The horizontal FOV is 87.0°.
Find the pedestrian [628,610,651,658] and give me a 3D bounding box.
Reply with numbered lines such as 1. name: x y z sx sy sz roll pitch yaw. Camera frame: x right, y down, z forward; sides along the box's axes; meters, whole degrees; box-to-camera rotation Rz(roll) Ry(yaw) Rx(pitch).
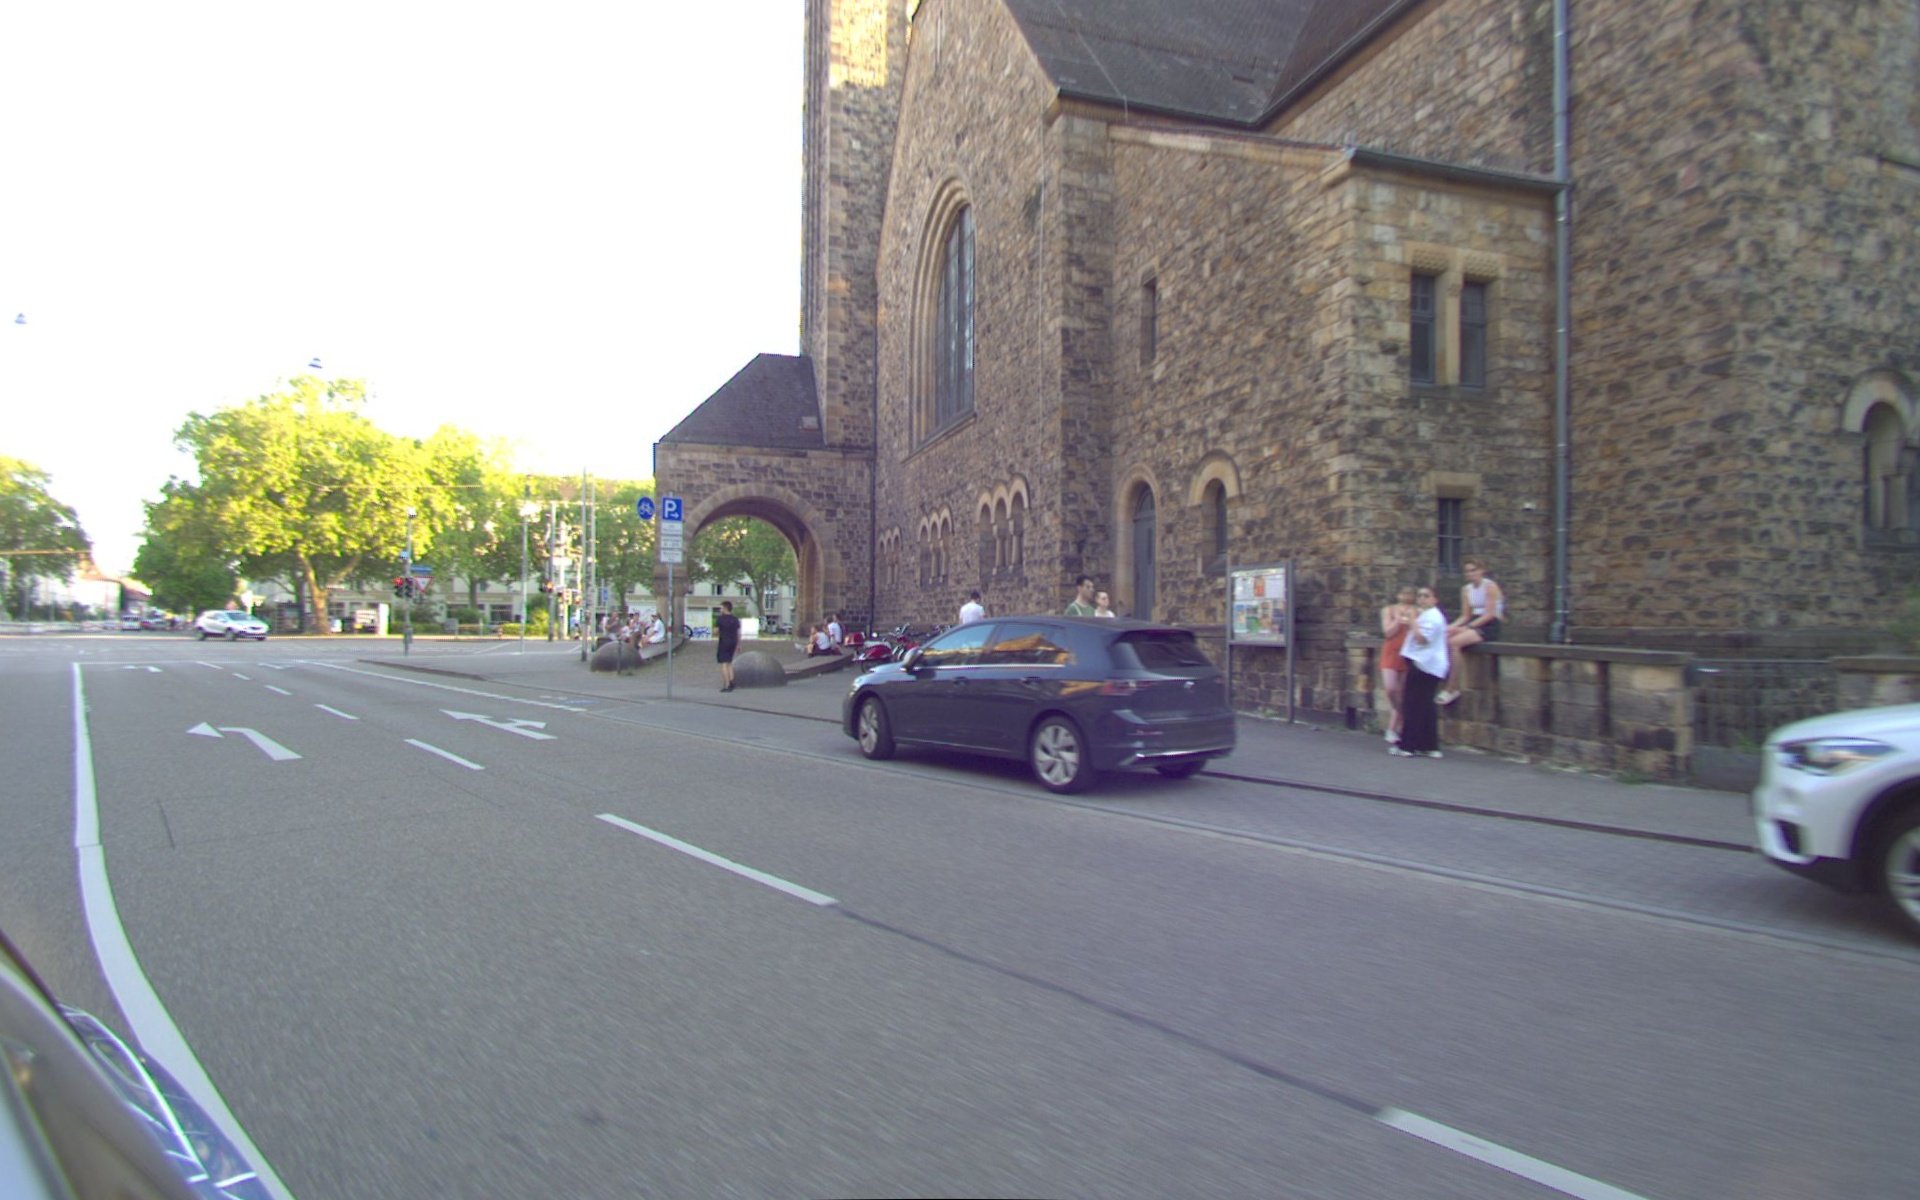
1. pedestrian: -9.648 1.029 30.482 0.539 1.417 0.459 1 -2 -7

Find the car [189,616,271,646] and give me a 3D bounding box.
1. car: -39.252 1.670 54.404 3.975 1.570 1.827 0 -2 24

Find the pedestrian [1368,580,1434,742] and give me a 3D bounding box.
1. pedestrian: 4.683 0.635 10.769 0.542 1.687 0.414 0 -1 9

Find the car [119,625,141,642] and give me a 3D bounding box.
1. car: -102.581 4.127 125.081 1.961 1.971 4.604 2 -2 -38

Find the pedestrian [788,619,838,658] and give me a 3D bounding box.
1. pedestrian: -4.290 1.114 29.616 1.318 1.102 0.683 0 -2 9

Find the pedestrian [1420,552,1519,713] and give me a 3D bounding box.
1. pedestrian: 5.121 0.325 10.189 0.641 1.557 0.587 0 -1 -18

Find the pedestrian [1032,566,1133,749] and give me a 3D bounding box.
1. pedestrian: 1.330 0.607 11.028 0.639 1.893 0.892 2 -2 -45

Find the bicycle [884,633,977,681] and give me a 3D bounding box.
1. bicycle: -0.624 1.208 21.726 1.973 0.997 0.467 1 -2 -26

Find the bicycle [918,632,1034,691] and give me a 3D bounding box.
1. bicycle: 0.315 1.138 19.169 2.150 1.020 0.555 0 -1 -25

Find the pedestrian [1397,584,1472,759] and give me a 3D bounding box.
1. pedestrian: 4.548 0.669 9.724 0.542 1.634 0.414 0 -1 9

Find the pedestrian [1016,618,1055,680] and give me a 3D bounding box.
1. pedestrian: 1.323 0.846 17.692 0.516 1.056 0.734 0 -2 18

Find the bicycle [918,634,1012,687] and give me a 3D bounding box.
1. bicycle: 0.108 1.172 19.729 1.852 0.997 0.371 1 -2 -27

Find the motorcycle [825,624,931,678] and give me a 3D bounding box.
1. motorcycle: -1.899 1.157 23.675 2.383 1.134 0.823 -1 -1 -38

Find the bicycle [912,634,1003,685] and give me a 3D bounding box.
1. bicycle: -0.041 1.181 20.321 1.852 0.997 0.371 1 -2 -26

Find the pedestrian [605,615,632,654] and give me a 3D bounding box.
1. pedestrian: -12.343 1.252 36.636 0.791 1.385 0.700 1 -2 -8

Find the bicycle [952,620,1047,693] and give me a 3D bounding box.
1. bicycle: 0.715 0.993 18.098 1.704 1.258 0.438 1 -2 -27

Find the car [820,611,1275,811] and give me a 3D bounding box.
1. car: 0.593 0.857 9.585 1.761 1.446 4.323 2 -2 -40

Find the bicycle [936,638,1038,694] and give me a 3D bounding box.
1. bicycle: 0.504 1.187 18.439 1.852 0.997 0.443 1 -2 -26

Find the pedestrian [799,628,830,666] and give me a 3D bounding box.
1. pedestrian: -3.830 1.229 26.683 0.643 0.975 0.559 0 -2 15

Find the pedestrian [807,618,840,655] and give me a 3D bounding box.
1. pedestrian: -4.092 1.085 30.289 0.821 1.084 0.646 0 -2 9

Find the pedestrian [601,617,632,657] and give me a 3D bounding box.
1. pedestrian: -12.160 1.318 35.798 0.795 1.385 0.697 0 -2 10

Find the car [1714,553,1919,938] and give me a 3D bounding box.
1. car: 5.728 0.606 3.728 1.849 1.604 4.473 2 -2 -43

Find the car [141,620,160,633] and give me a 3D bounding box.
1. car: -104.680 3.437 130.842 1.799 1.586 4.008 1 -2 -37

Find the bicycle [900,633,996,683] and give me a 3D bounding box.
1. bicycle: -0.227 1.181 20.739 1.956 0.997 0.467 1 -2 -26

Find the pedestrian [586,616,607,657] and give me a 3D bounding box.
1. pedestrian: -13.089 1.308 36.475 0.619 1.465 0.918 1 -2 -15

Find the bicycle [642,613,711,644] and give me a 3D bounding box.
1. bicycle: -9.922 1.005 35.458 2.246 1.065 0.597 1 -2 -24

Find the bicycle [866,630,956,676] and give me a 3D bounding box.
1. bicycle: -1.110 1.195 23.064 1.973 0.997 0.587 1 -2 -28

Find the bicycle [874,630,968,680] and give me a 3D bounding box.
1. bicycle: -0.852 1.197 22.361 1.973 0.997 0.587 -2 0 -26

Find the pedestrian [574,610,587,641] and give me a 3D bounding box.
1. pedestrian: -23.203 1.565 61.793 0.699 1.861 1.163 1 -2 -21

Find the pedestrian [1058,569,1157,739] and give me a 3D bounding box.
1. pedestrian: 1.697 0.603 11.681 0.566 1.870 0.989 2 -2 -45

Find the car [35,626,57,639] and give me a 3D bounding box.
1. car: -115.546 4.059 127.953 1.767 1.592 4.008 2 -2 -38

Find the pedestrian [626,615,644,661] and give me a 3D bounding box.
1. pedestrian: -10.068 1.174 31.358 0.396 1.417 0.549 1 -2 -7

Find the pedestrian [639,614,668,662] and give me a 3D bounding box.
1. pedestrian: -9.098 1.128 30.083 0.693 1.417 0.633 1 -2 -7

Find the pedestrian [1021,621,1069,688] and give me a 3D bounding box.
1. pedestrian: 1.386 0.883 16.561 0.509 1.064 0.702 1 -2 -25

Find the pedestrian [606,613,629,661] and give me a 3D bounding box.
1. pedestrian: -10.547 1.148 31.196 0.542 1.464 0.558 1 -2 -7

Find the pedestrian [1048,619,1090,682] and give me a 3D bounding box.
1. pedestrian: 1.850 0.849 17.187 0.490 1.056 0.609 1 -2 -21

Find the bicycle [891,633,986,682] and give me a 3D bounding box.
1. bicycle: -0.448 1.198 21.244 1.973 0.997 0.467 1 -2 -26

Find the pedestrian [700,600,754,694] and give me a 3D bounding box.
1. pedestrian: -4.426 0.881 19.250 0.691 1.738 0.707 -1 -2 39

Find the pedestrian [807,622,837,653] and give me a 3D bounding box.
1. pedestrian: -4.223 1.134 30.985 0.732 0.923 0.646 0 -2 9

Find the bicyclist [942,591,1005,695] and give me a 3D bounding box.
1. bicyclist: 0.245 0.784 18.940 0.926 1.894 0.710 0 -1 -27

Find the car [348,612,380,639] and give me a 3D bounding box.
1. car: -45.595 1.976 77.442 1.836 2.029 3.823 1 -2 -27

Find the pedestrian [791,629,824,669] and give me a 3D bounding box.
1. pedestrian: -3.926 1.253 26.084 0.690 0.999 0.559 0 -2 15
